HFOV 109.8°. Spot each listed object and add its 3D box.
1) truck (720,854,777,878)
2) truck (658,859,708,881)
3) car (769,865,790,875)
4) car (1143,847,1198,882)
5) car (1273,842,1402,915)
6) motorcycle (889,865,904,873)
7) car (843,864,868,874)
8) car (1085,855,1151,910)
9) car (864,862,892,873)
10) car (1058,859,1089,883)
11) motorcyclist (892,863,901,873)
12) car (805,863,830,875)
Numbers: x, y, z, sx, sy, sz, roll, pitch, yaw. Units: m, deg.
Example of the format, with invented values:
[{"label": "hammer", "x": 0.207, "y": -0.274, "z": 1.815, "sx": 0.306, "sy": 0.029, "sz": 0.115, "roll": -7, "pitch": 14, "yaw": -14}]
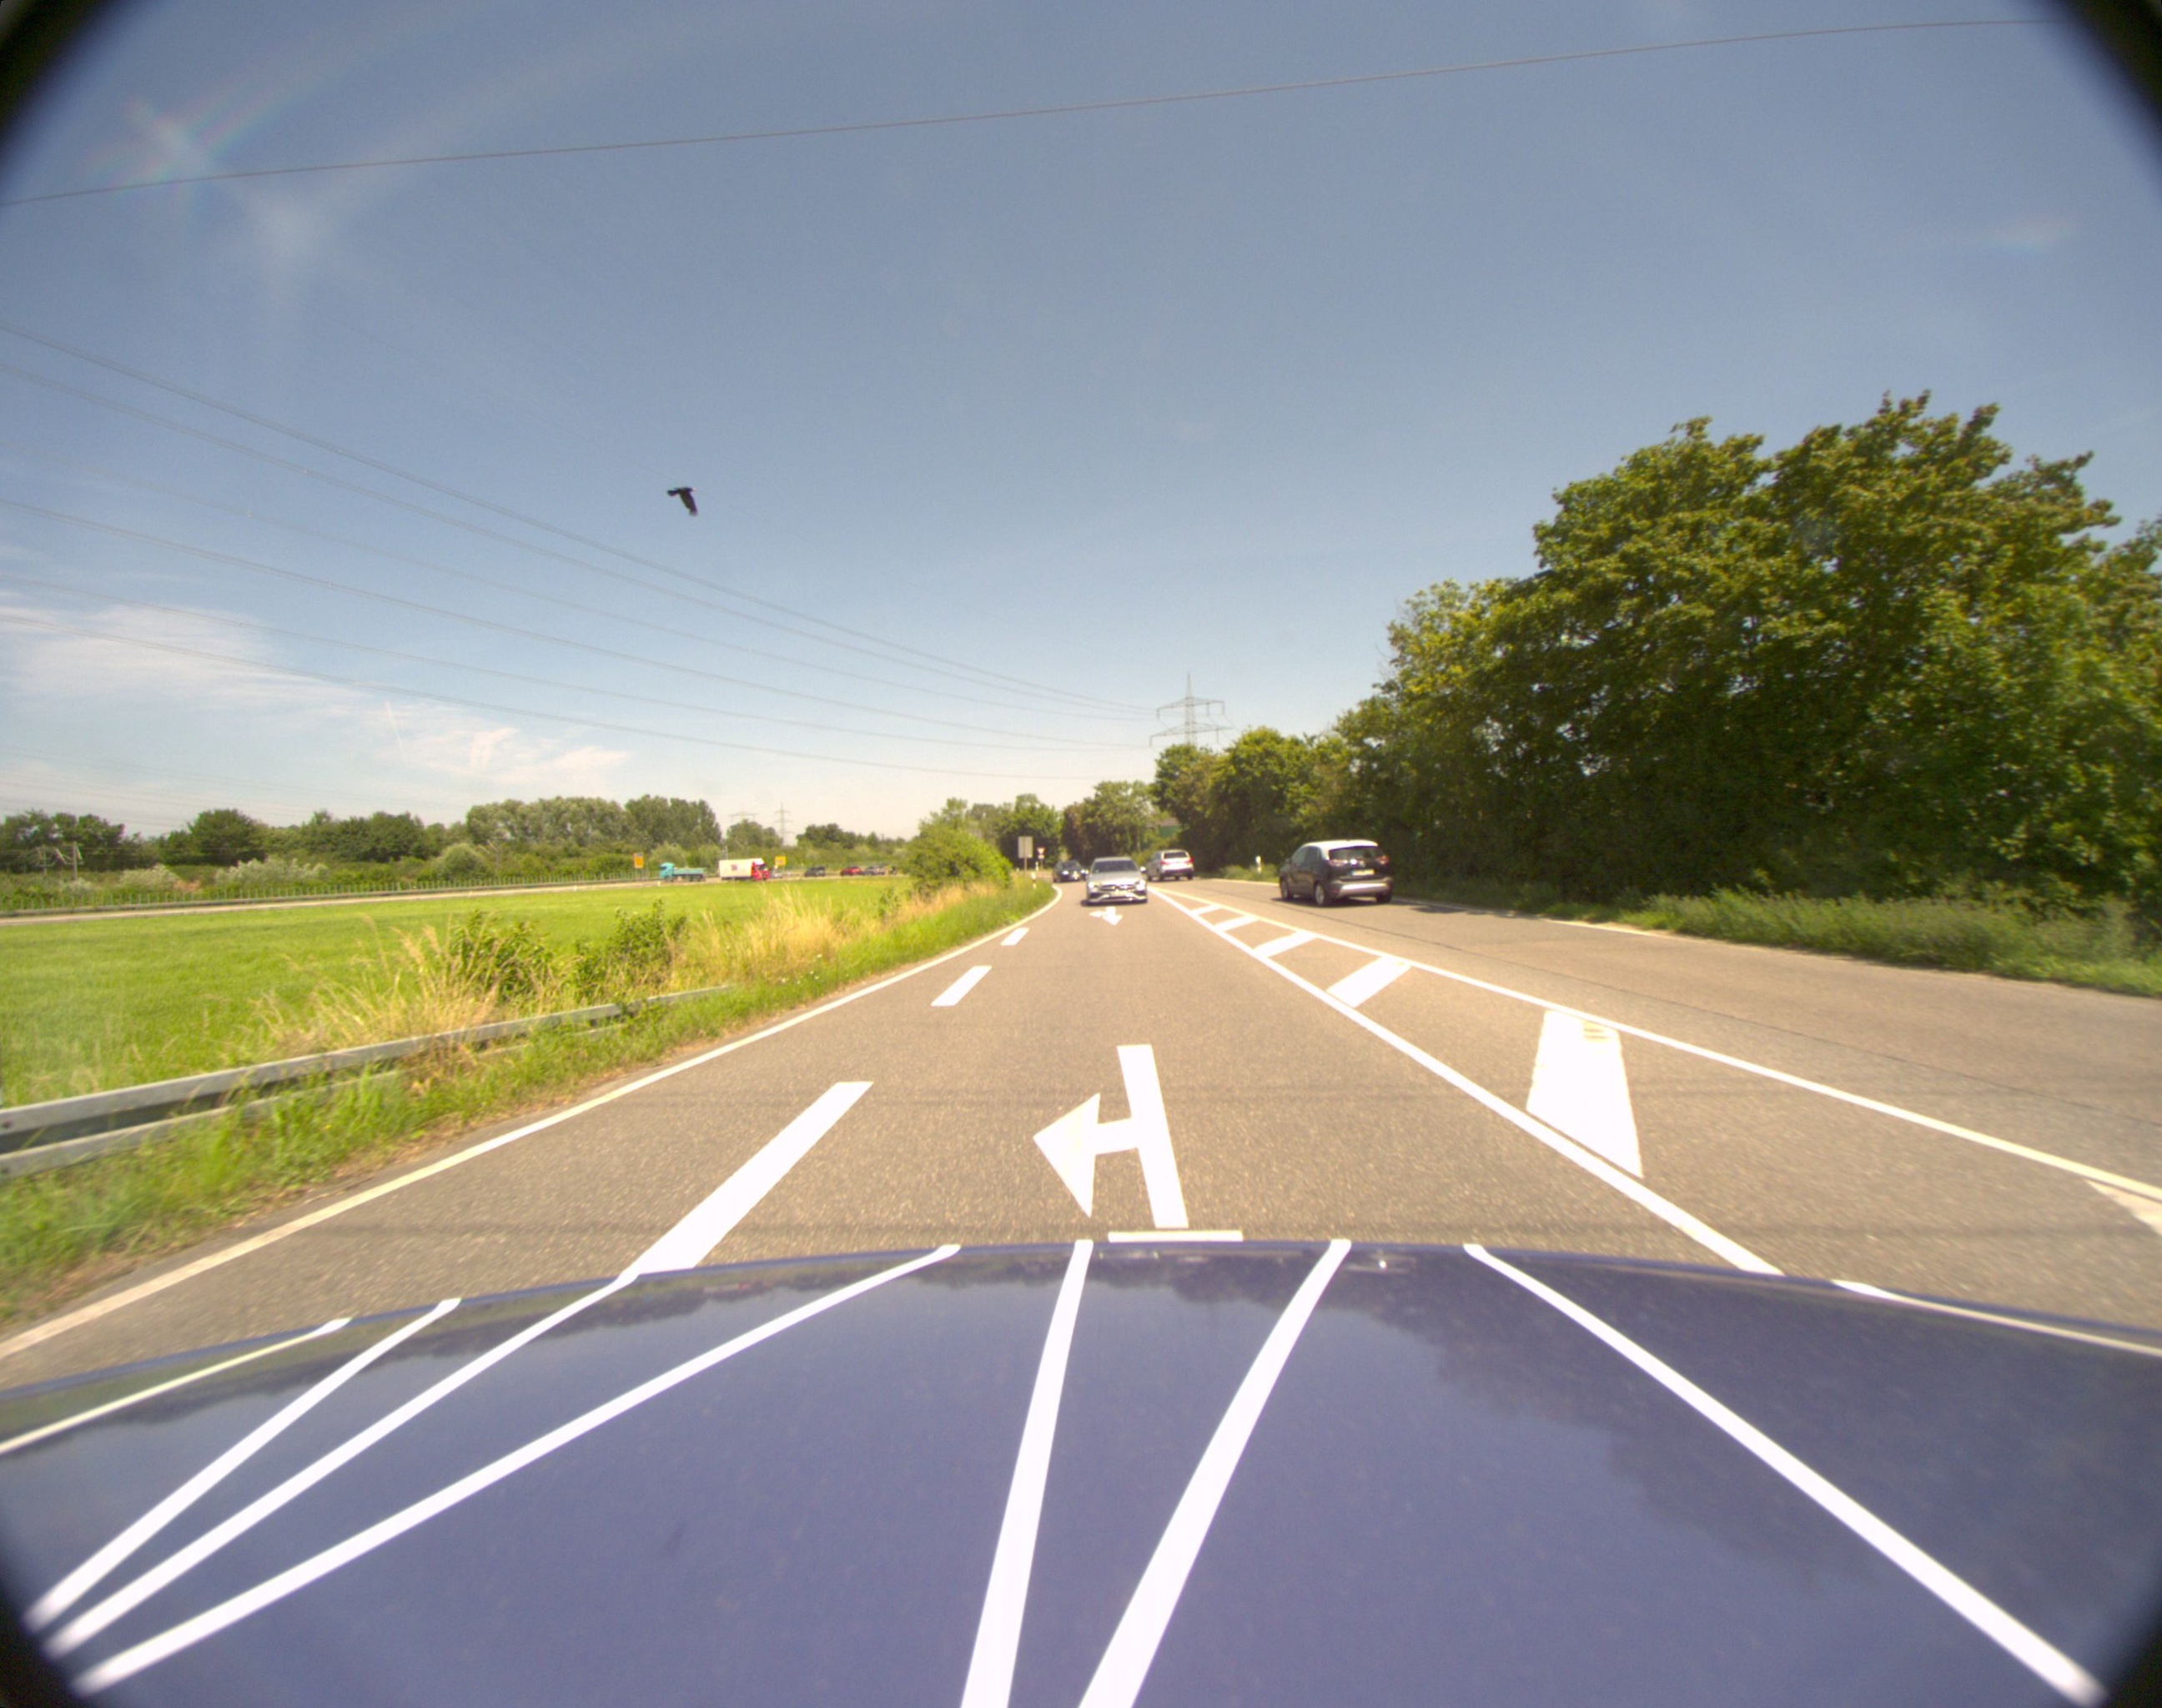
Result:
[{"label": "truck", "x": -54.157, "y": 1.994, "z": 123.559, "sx": 9.532, "sy": 3.560, "sz": 2.729, "roll": -2, "pitch": 3, "yaw": 26}, {"label": "truck", "x": -72.752, "y": 2.903, "z": 139.009, "sx": 7.615, "sy": 3.451, "sz": 2.606, "roll": -3, "pitch": 1, "yaw": -19}, {"label": "car", "x": -53.469, "y": 2.859, "z": 134.861, "sx": 3.997, "sy": 1.451, "sz": 1.640, "roll": -3, "pitch": 1, "yaw": 40}, {"label": "car", "x": 4.611, "y": 0.515, "z": 39.721, "sx": 1.746, "sy": 1.580, "sz": 4.527, "roll": -4, "pitch": 0, "yaw": -7}, {"label": "car", "x": 6.379, "y": 0.545, "z": 19.364, "sx": 1.737, "sy": 1.581, "sz": 3.956, "roll": -3, "pitch": 0, "yaw": -3}, {"label": "motorcycle", "x": -27.160, "y": 2.240, "z": 111.867, "sx": 2.423, "sy": 1.117, "sz": 0.785, "roll": -2, "pitch": 3, "yaw": 44}, {"label": "car", "x": -35.655, "y": 2.367, "z": 120.050, "sx": 4.379, "sy": 1.507, "sz": 1.808, "roll": -1, "pitch": 1, "yaw": 44}, {"label": "car", "x": 1.148, "y": 0.850, "z": 24.238, "sx": 1.824, "sy": 1.478, "sz": 4.149, "roll": -4, "pitch": 0, "yaw": 2}, {"label": "car", "x": -30.744, "y": 2.028, "z": 114.950, "sx": 4.795, "sy": 1.452, "sz": 1.850, "roll": -1, "pitch": 2, "yaw": 44}, {"label": "car", "x": -0.560, "y": 1.115, "z": 50.701, "sx": 1.825, "sy": 1.431, "sz": 4.147, "roll": -2, "pitch": 0, "yaw": -4}, {"label": "motorcyclist", "x": -27.166, "y": 2.049, "z": 111.827, "sx": 1.127, "sy": 1.487, "sz": 0.785, "roll": -1, "pitch": 2, "yaw": 44}, {"label": "car", "x": -44.090, "y": 2.501, "z": 126.899, "sx": 4.426, "sy": 1.822, "sz": 1.936, "roll": -2, "pitch": 2, "yaw": 42}]
